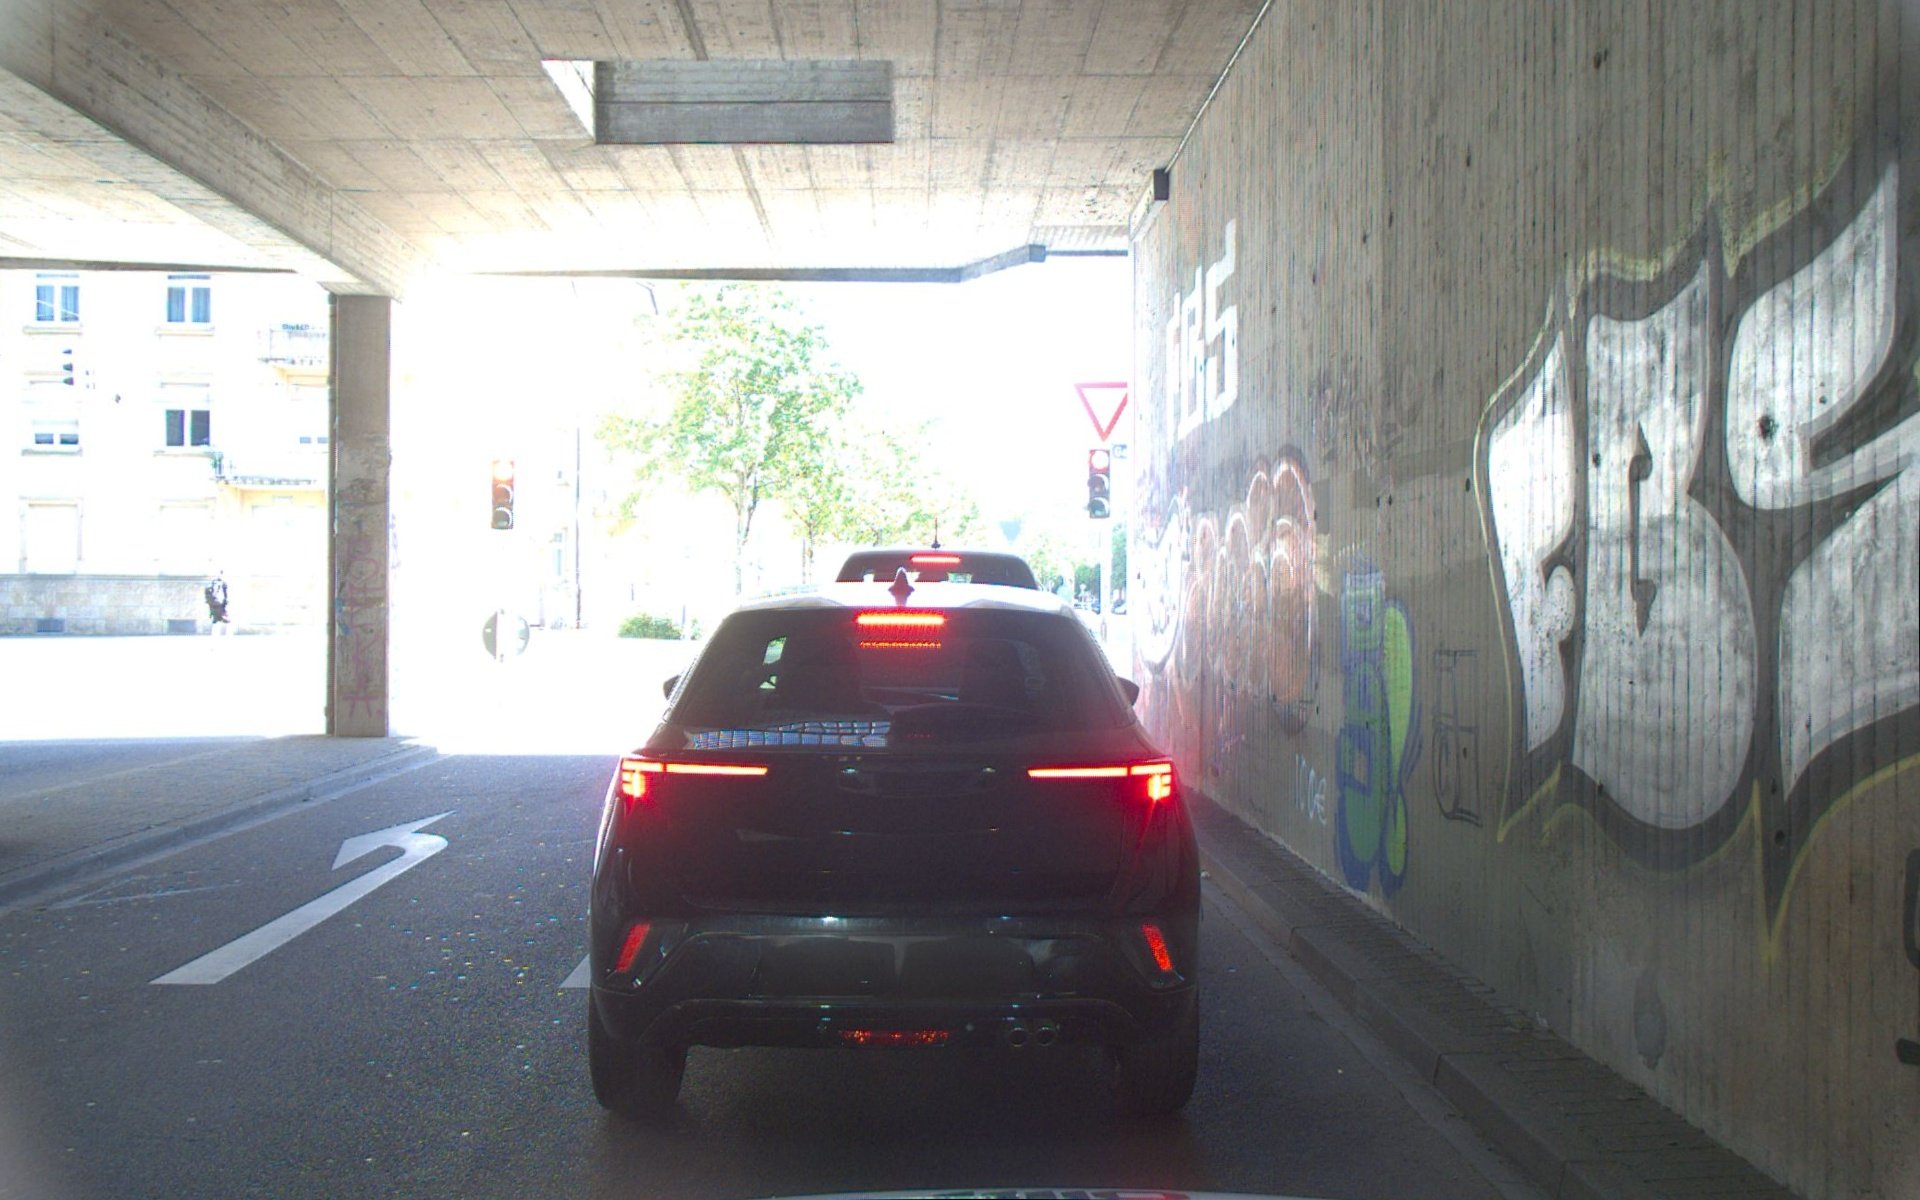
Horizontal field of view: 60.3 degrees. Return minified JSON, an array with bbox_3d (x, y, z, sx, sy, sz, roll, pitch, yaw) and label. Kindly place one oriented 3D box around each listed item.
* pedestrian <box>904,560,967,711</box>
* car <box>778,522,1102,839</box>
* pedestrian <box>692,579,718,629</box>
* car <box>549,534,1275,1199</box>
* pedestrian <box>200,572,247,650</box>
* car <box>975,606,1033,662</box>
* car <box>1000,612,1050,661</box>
[{"bbox_3d":[-0.297,0.417,19.933,0.716,1.764,0.874,1,-1,-1],"label":"pedestrian"},{"bbox_3d":[-0.148,0.474,12.018,1.953,1.904,3.999,0,0,-1],"label":"car"},{"bbox_3d":[-10.981,0.160,71.177,0.873,2.124,0.808,1,-1,7],"label":"pedestrian"},{"bbox_3d":[-0.143,0.609,5.998,1.729,1.598,4.000,1,1,-1],"label":"car"},{"bbox_3d":[-15.860,0.236,35.620,0.658,1.666,0.740,1,-1,-1],"label":"pedestrian"},{"bbox_3d":[1.705,1.257,62.328,1.951,2.004,4.166,1,0,4],"label":"car"},{"bbox_3d":[2.818,1.533,70.917,1.951,2.004,4.166,1,0,4],"label":"car"}]
